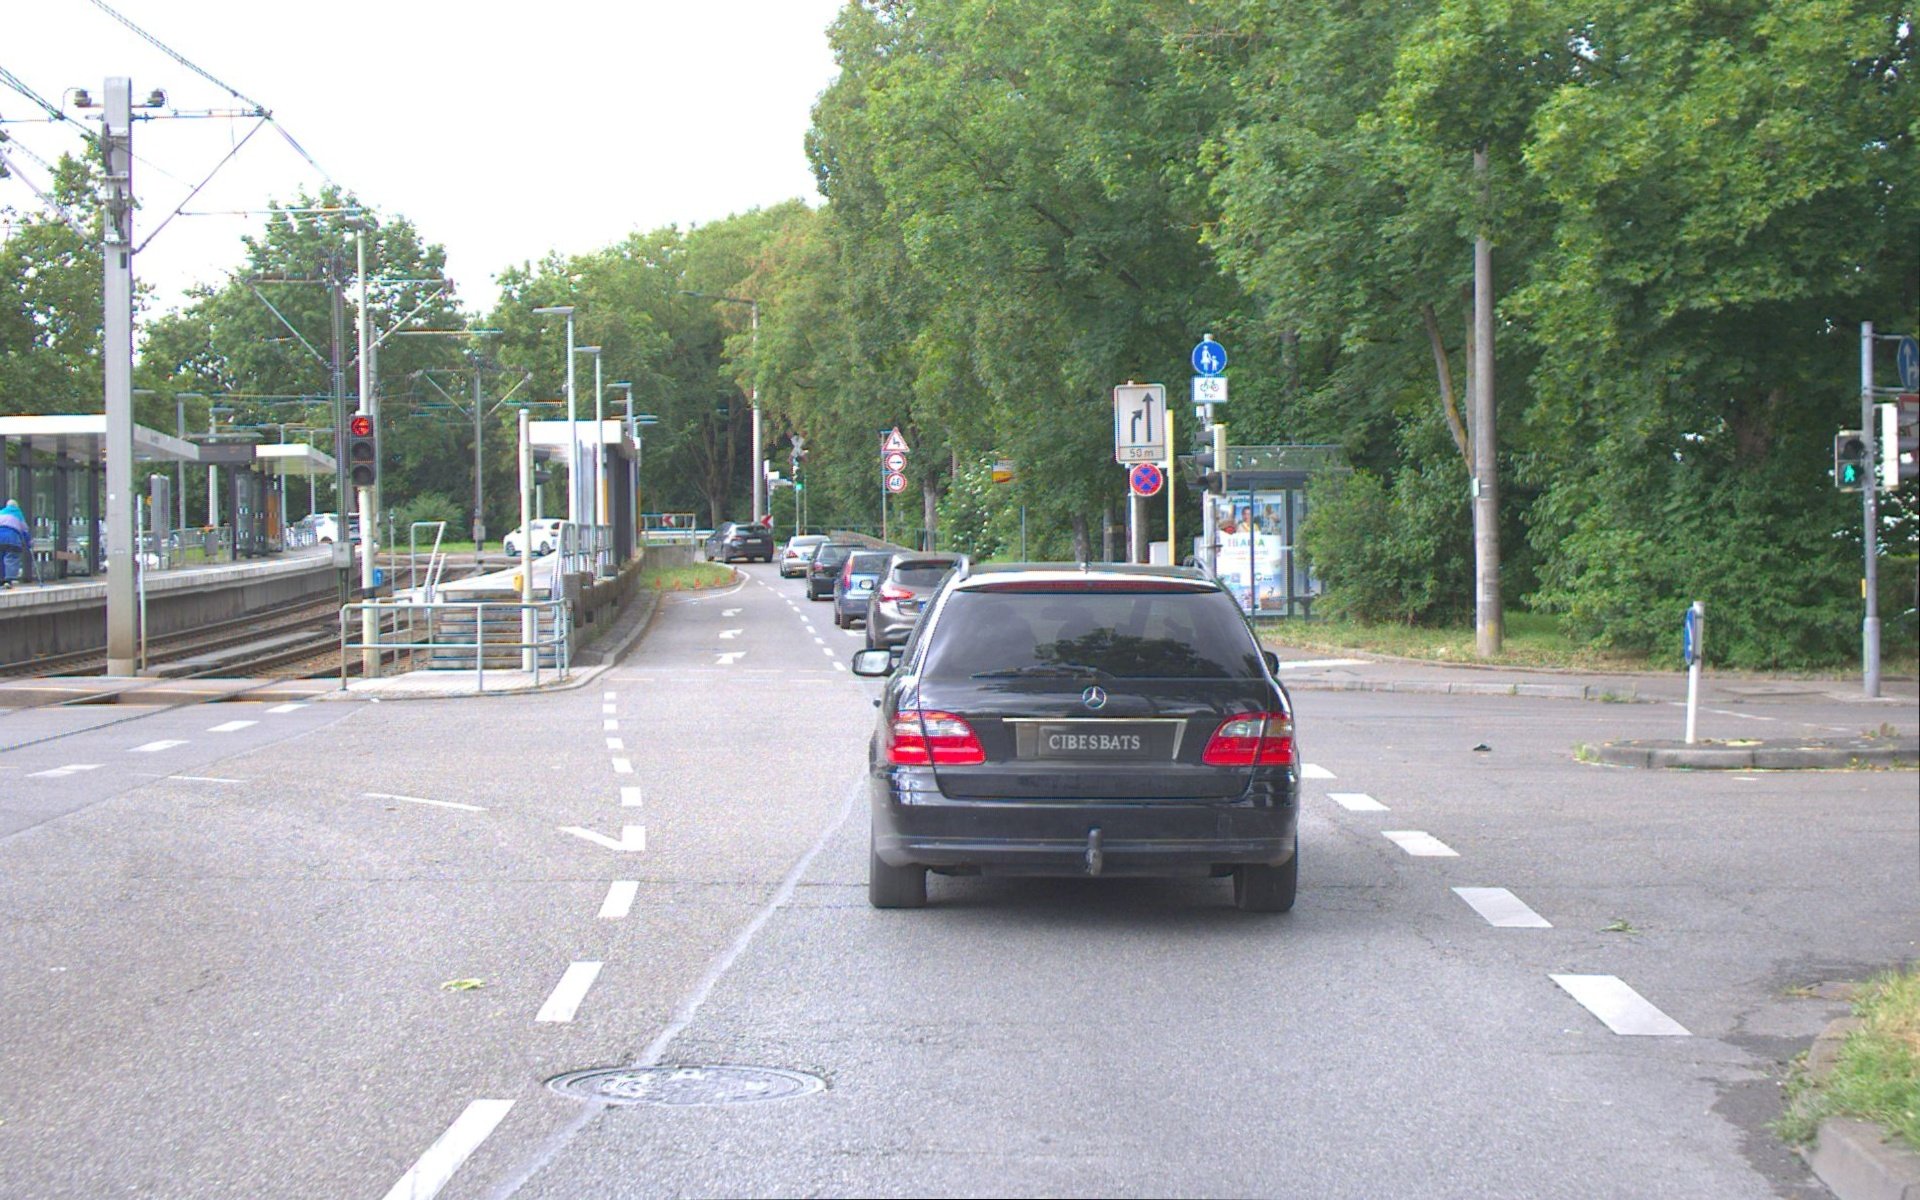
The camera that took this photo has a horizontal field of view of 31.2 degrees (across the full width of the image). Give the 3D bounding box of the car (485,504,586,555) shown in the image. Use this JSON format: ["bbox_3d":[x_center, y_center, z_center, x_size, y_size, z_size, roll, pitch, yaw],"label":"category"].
[{"bbox_3d":[-17.228,-2.856,139.334,1.995,2.007,3.998,2,0,-45],"label":"car"}]

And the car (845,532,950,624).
[{"bbox_3d":[-1.158,-0.401,65.252,1.782,1.642,4.000,1,0,1],"label":"car"}]

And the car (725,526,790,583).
[{"bbox_3d":[-7.326,-1.619,124.002,1.993,1.960,4.001,1,0,-8],"label":"car"}]

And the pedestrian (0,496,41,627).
[{"bbox_3d":[-16.065,-0.643,57.838,0.969,2.178,0.976,0,1,-3],"label":"pedestrian"}]

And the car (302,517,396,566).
[{"bbox_3d":[-26.331,-2.536,148.038,3.997,2.007,1.995,2,0,45],"label":"car"}]

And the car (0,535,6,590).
[{"bbox_3d":[-25.946,-0.945,88.849,1.685,1.441,4.001,-3,0,-5],"label":"car"}]

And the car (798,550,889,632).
[{"bbox_3d":[-2.869,-0.226,83.923,1.993,1.912,4.001,1,0,-5],"label":"car"}]

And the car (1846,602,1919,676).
[{"bbox_3d":[18.545,0.757,65.593,1.478,1.381,3.841,1,0,-14],"label":"car"}]

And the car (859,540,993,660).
[{"bbox_3d":[-0.455,-0.006,50.336,1.782,1.642,4.000,1,0,1],"label":"car"}]

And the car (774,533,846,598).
[{"bbox_3d":[-4.587,-1.035,104.852,1.993,1.886,4.001,1,0,-5],"label":"car"}]

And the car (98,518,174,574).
[{"bbox_3d":[-27.280,-1.760,113.895,1.710,1.745,4.400,-2,0,-4],"label":"car"}]

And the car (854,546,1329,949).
[{"bbox_3d":[0.451,0.545,15.371,1.781,1.520,4.001,2,1,-2],"label":"car"}]
